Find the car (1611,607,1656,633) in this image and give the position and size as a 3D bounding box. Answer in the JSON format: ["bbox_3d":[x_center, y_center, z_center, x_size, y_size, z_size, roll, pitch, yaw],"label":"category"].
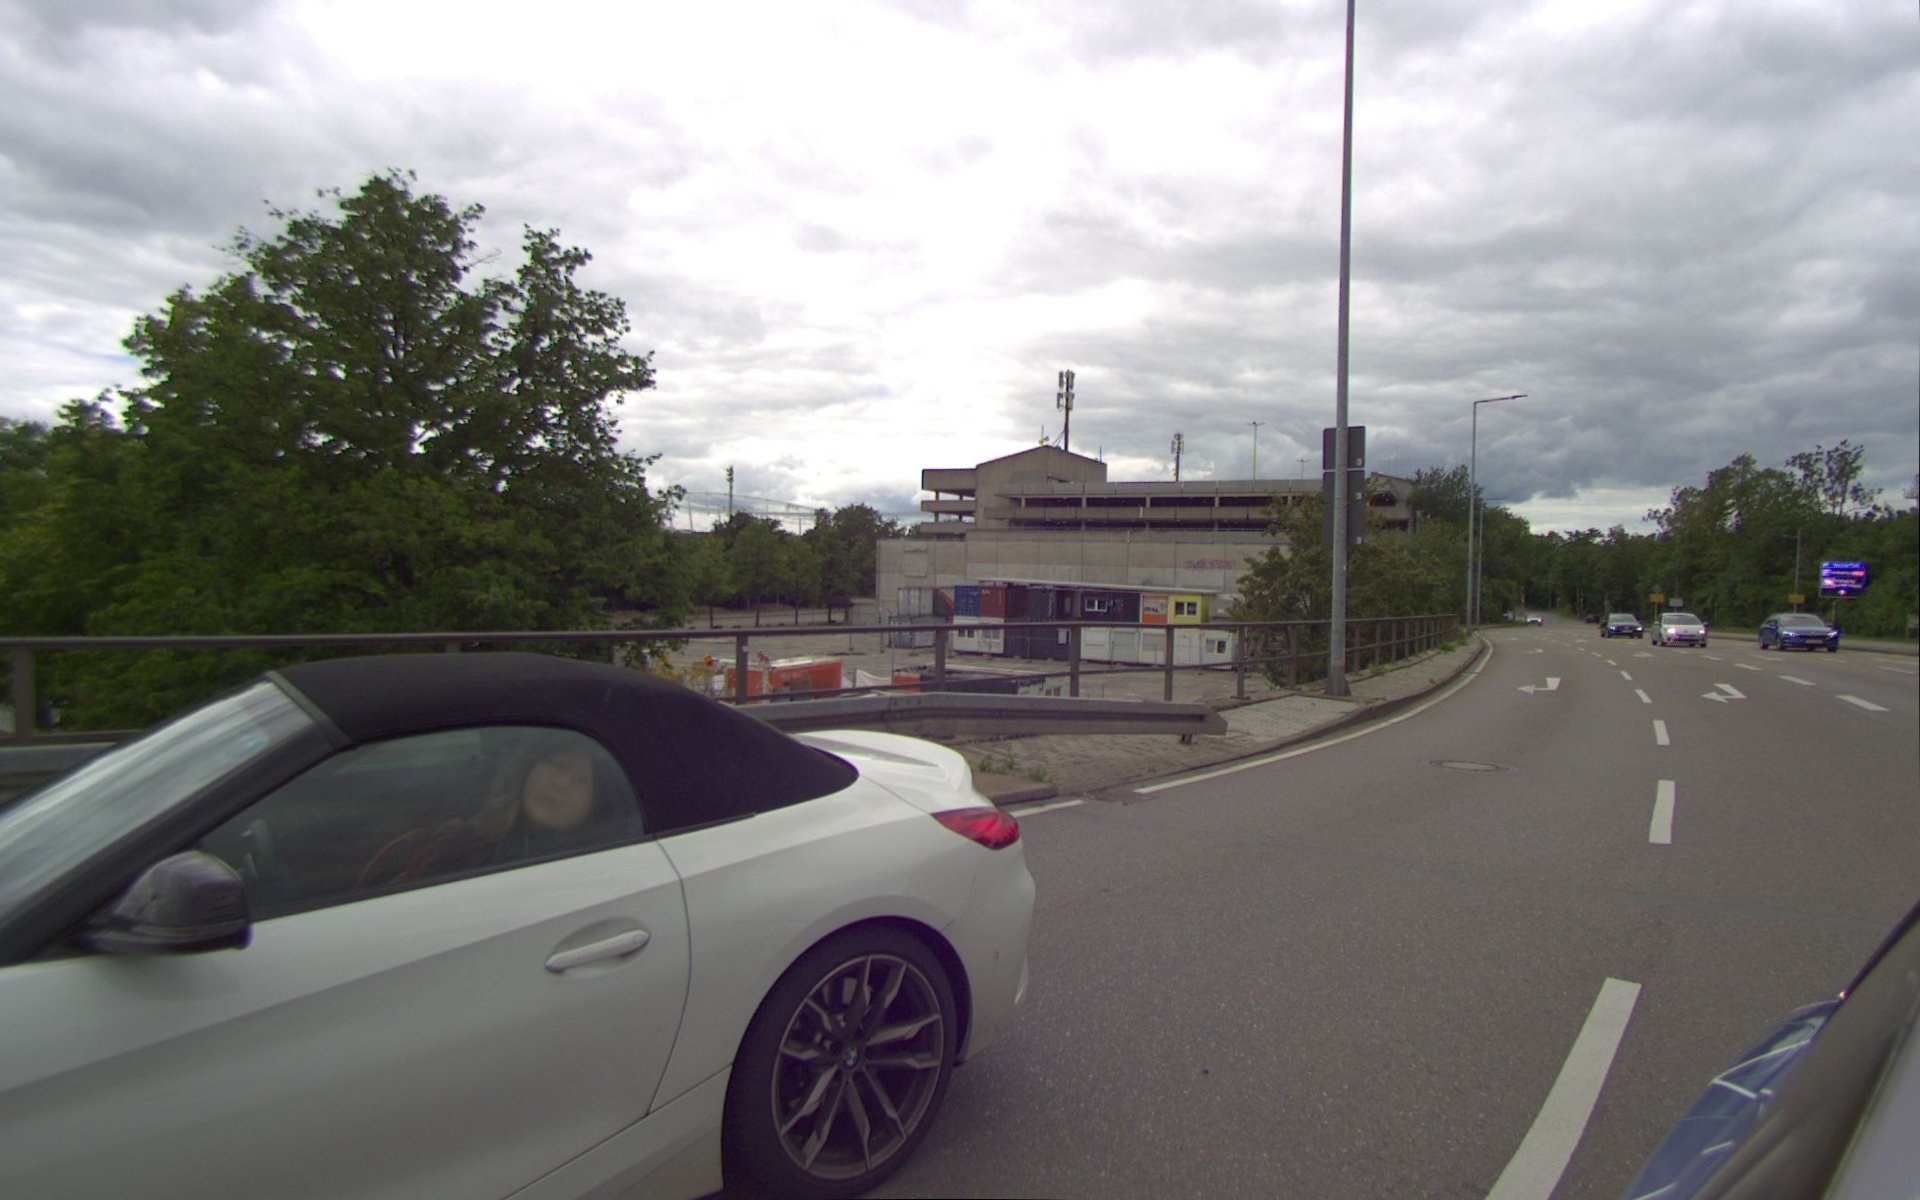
[{"bbox_3d":[39.502,1.134,59.455,1.849,1.434,4.294,1,0,29],"label":"car"}]

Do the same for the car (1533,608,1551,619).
[{"bbox_3d":[77.931,1.829,135.565,1.848,1.434,4.297,1,0,27],"label":"car"}]

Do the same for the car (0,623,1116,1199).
[{"bbox_3d":[-1.722,0.755,2.394,4.186,1.308,1.809,0,0,-39],"label":"car"}]

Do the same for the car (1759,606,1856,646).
[{"bbox_3d":[33.138,0.959,39.695,1.825,1.434,4.539,1,0,26],"label":"car"}]

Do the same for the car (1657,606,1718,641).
[{"bbox_3d":[31.401,0.994,43.755,1.595,1.434,3.557,1,0,27],"label":"car"}]
